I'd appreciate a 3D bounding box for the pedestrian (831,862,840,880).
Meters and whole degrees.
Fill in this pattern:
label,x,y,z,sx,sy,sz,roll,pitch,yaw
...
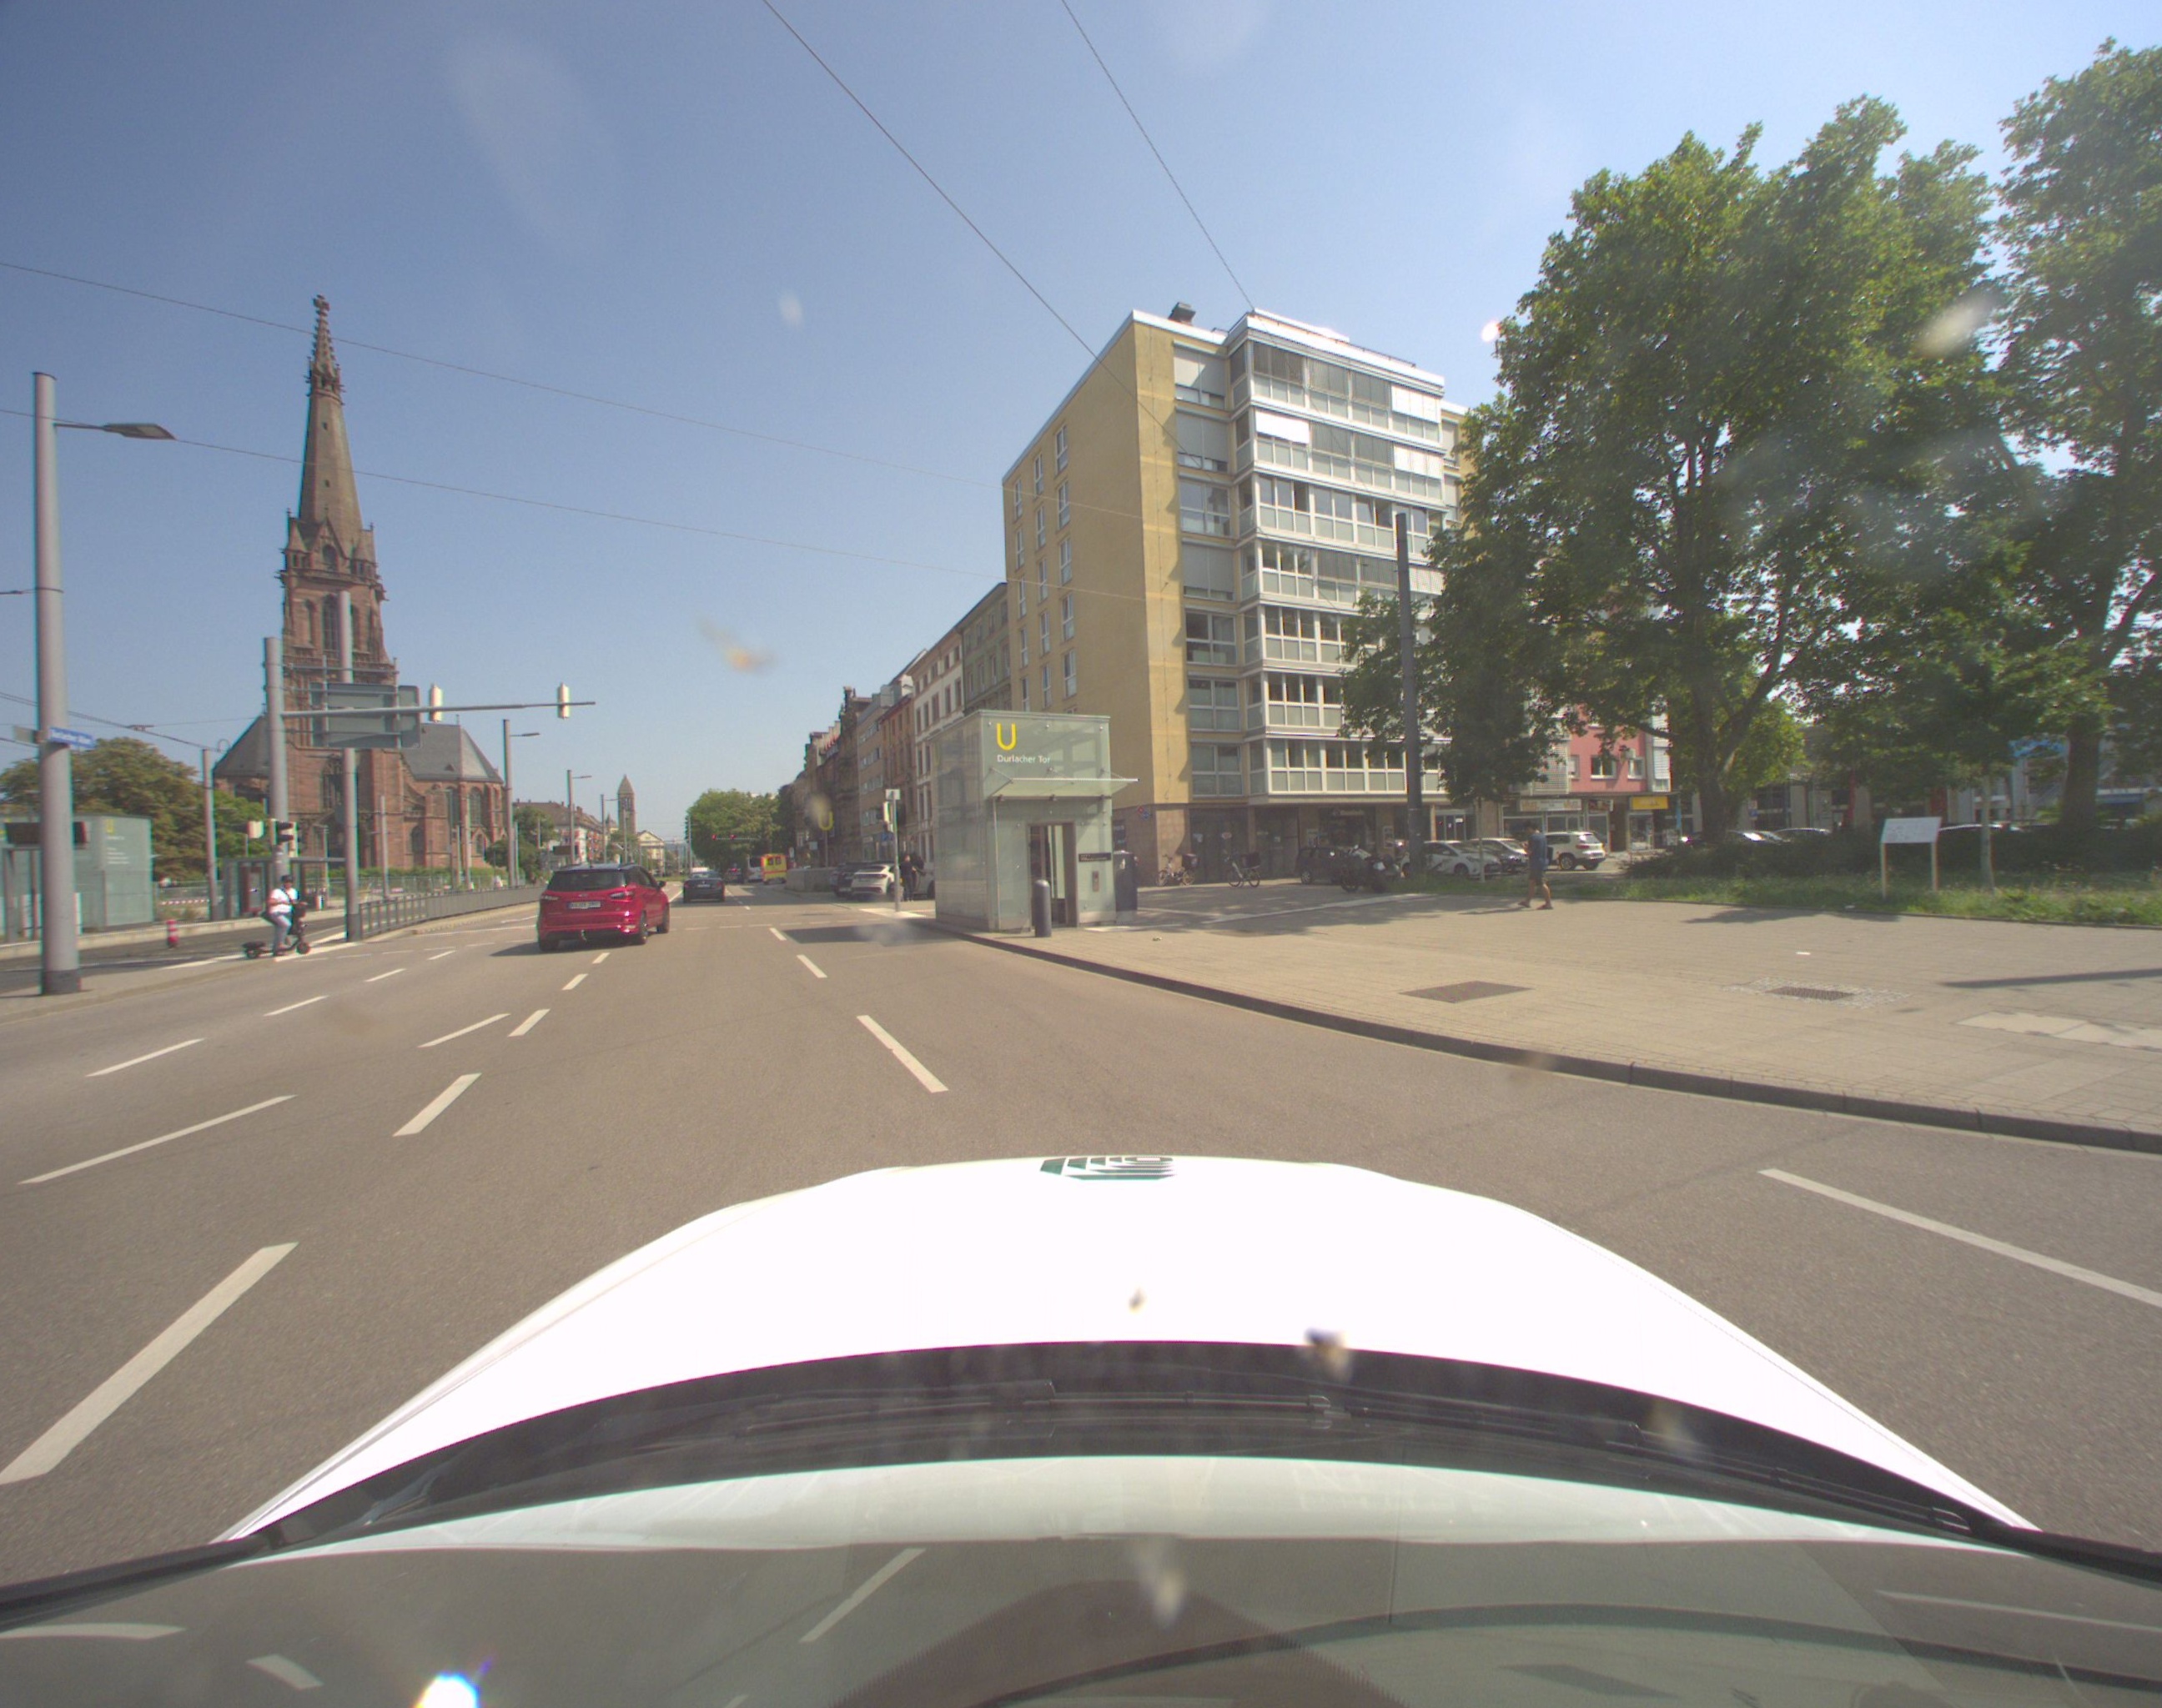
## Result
label,x,y,z,sx,sy,sz,roll,pitch,yaw
pedestrian,-24.173,1.666,80.232,0.700,1.667,0.598,-2,0,-24

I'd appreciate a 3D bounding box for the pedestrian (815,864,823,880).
label,x,y,z,sx,sy,sz,roll,pitch,yaw
pedestrian,-27.789,1.867,86.360,0.700,1.667,1.056,-2,0,-23

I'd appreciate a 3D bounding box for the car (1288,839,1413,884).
label,x,y,z,sx,sy,sz,roll,pitch,yaw
car,9.858,0.283,30.096,1.911,1.470,4.208,-2,0,-28

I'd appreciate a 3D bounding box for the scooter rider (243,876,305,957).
label,x,y,z,sx,sy,sz,roll,pitch,yaw
scooter rider,-17.543,1.358,17.724,0.776,1.673,0.771,-2,-5,-29

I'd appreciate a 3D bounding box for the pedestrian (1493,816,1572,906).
label,x,y,z,sx,sy,sz,roll,pitch,yaw
pedestrian,8.481,0.131,15.313,0.795,1.609,0.941,-3,-1,-28

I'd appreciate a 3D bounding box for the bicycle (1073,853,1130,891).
label,x,y,z,sx,sy,sz,roll,pitch,yaw
bicycle,0.905,0.726,34.218,0.892,1.404,3.385,-2,0,29

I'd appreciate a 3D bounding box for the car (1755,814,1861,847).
label,x,y,z,sx,sy,sz,roll,pitch,yaw
car,40.811,-1.303,45.807,1.795,1.666,4.036,-2,0,-28

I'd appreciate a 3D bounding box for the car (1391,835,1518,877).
label,x,y,z,sx,sy,sz,roll,pitch,yaw
car,14.574,0.108,32.032,1.911,1.470,4.208,-2,0,-28

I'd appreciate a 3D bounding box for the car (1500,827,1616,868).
label,x,y,z,sx,sy,sz,roll,pitch,yaw
car,20.940,-0.245,35.897,1.795,1.666,4.036,-2,0,-28

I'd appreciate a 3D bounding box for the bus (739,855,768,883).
label,x,y,z,sx,sy,sz,roll,pitch,yaw
bus,-39.304,1.836,97.539,2.546,3.032,12.331,-2,0,-25

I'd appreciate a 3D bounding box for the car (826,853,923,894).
label,x,y,z,sx,sy,sz,roll,pitch,yaw
car,-9.813,0.908,39.138,2.019,1.713,4.692,-2,0,23

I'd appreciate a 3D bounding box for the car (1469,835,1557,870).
label,x,y,z,sx,sy,sz,roll,pitch,yaw
car,18.518,-0.048,35.031,1.407,1.428,3.070,-2,0,-28

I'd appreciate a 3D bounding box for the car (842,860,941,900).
label,x,y,z,sx,sy,sz,roll,pitch,yaw
car,-7.511,1.006,32.606,1.784,1.500,3.809,0,-1,29

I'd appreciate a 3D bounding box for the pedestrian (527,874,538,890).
label,x,y,z,sx,sy,sz,roll,pitch,yaw
pedestrian,-59.884,3.073,88.843,0.833,1.752,0.714,-2,-1,-25

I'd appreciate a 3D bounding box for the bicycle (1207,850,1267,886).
label,x,y,z,sx,sy,sz,roll,pitch,yaw
bicycle,5.578,0.503,29.310,0.796,1.238,2.414,-2,0,-25

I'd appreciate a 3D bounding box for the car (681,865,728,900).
label,x,y,z,sx,sy,sz,roll,pitch,yaw
car,-17.094,1.240,37.007,1.799,1.431,3.967,-2,0,-25

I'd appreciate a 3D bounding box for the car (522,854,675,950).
label,x,y,z,sx,sy,sz,roll,pitch,yaw
car,-9.675,0.902,16.667,1.767,1.618,4.057,-3,-1,-18

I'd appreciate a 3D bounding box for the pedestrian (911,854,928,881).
label,x,y,z,sx,sy,sz,roll,pitch,yaw
pedestrian,-11.674,0.966,58.813,0.847,1.846,0.679,-4,1,-34

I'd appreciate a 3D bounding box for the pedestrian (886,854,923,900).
label,x,y,z,sx,sy,sz,roll,pitch,yaw
pedestrian,-6.821,0.880,31.435,0.892,1.704,1.044,-2,-1,38

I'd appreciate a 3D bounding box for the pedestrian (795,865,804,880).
label,x,y,z,sx,sy,sz,roll,pitch,yaw
pedestrian,-31.304,2.031,90.594,0.694,1.667,0.603,-2,0,0

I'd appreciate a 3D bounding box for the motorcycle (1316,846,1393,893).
label,x,y,z,sx,sy,sz,roll,pitch,yaw
motorcycle,7.160,0.386,21.444,0.910,1.136,2.103,-2,0,-13

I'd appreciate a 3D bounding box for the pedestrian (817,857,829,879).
label,x,y,z,sx,sy,sz,roll,pitch,yaw
pedestrian,-21.416,1.122,67.685,0.852,1.728,0.965,-3,2,-19

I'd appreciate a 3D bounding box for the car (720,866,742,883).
label,x,y,z,sx,sy,sz,roll,pitch,yaw
car,-36.596,2.160,85.135,1.800,1.677,3.965,-2,-1,-27

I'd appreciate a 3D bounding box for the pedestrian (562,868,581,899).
label,x,y,z,sx,sy,sz,roll,pitch,yaw
pedestrian,-29.944,1.731,47.866,0.764,1.752,1.061,-2,-1,-23

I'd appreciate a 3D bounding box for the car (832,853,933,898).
label,x,y,z,sx,sy,sz,roll,pitch,yaw
car,-8.575,0.898,35.557,1.962,1.687,4.417,-2,0,23

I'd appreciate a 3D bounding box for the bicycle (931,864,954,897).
label,x,y,z,sx,sy,sz,roll,pitch,yaw
bicycle,-5.769,1.099,33.923,0.475,1.296,1.777,-3,-1,-23

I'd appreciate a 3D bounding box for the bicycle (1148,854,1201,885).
label,x,y,z,sx,sy,sz,roll,pitch,yaw
bicycle,3.684,0.607,32.163,1.964,1.143,0.594,-2,0,-11

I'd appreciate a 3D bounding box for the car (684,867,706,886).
label,x,y,z,sx,sy,sz,roll,pitch,yaw
car,-37.945,2.231,80.026,1.800,1.780,3.965,-2,-1,-26

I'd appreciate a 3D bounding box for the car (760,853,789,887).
label,x,y,z,sx,sy,sz,roll,pitch,yaw
car,-28.519,1.474,75.662,2.308,2.888,5.558,-3,1,-21

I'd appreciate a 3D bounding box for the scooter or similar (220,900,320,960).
label,x,y,z,sx,sy,sz,roll,pitch,yaw
scooter or similar,-17.542,1.619,17.650,1.345,1.148,0.703,-2,0,-28
